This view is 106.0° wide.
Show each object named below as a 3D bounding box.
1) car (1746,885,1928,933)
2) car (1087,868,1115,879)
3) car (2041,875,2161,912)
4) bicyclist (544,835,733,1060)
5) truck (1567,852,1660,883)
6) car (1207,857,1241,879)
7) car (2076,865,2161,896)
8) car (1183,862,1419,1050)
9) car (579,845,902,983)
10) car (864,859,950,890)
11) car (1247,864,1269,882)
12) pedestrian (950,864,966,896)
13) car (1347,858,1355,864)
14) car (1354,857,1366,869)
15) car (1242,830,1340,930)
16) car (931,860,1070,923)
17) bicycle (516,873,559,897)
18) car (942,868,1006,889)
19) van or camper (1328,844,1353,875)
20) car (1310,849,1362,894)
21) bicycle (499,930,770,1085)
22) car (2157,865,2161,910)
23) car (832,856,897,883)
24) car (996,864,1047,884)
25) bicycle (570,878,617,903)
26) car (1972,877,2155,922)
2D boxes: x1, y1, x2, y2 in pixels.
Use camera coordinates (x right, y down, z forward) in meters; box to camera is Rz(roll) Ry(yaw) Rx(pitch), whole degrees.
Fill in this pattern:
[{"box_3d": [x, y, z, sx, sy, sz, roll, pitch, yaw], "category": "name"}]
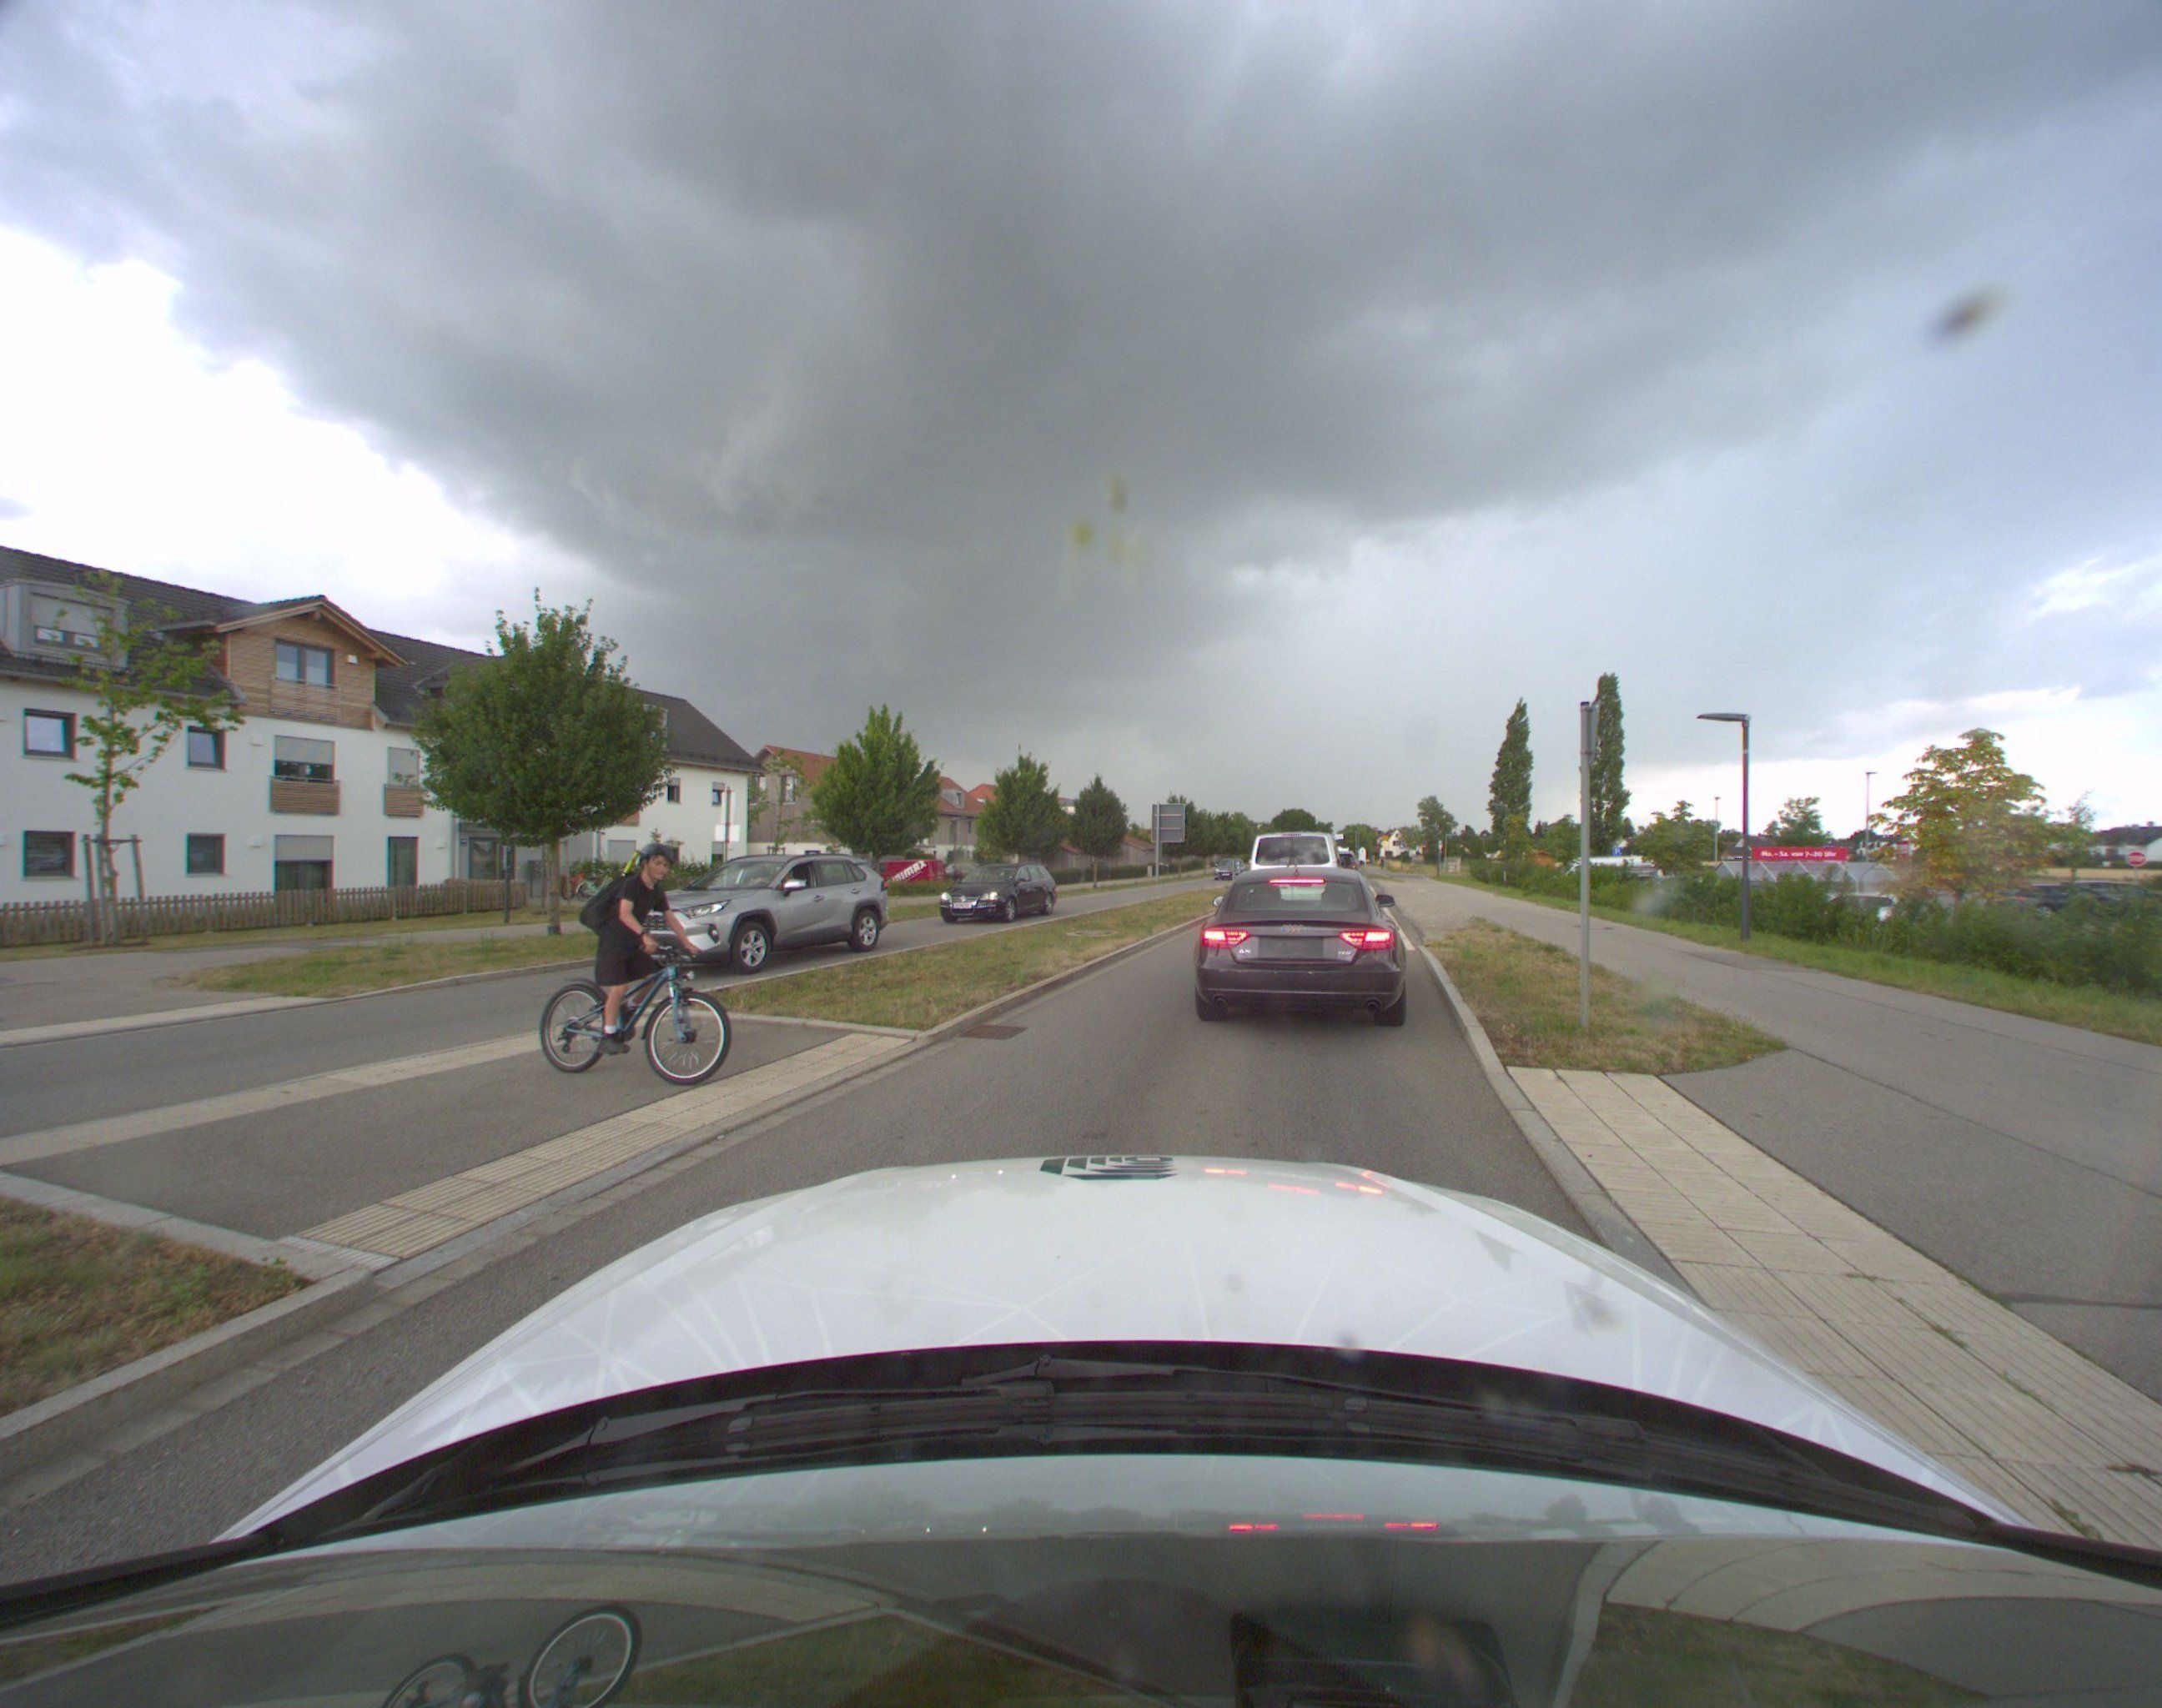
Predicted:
[{"box_3d": [26.097, 1.882, 28.315, 4.199, 1.440, 2.009, 0, 0, 18], "category": "car"}, {"box_3d": [1.950, 1.901, 78.681, 2.455, 1.028, 1.189, 0, 0, 12], "category": "car"}, {"box_3d": [48.364, 1.823, 38.012, 4.277, 1.578, 1.776, 0, 0, 20], "category": "car"}, {"box_3d": [-3.036, 0.609, 5.651, 0.861, 1.446, 0.726, -1, 0, 9], "category": "bicyclist"}, {"box_3d": [35.003, 0.880, 53.671, 4.762, 1.872, 2.007, 1, -1, 14], "category": "truck"}, {"box_3d": [9.841, 0.953, 55.802, 1.716, 1.410, 4.226, 0, 0, 19], "category": "car"}, {"box_3d": [66.484, 1.663, 51.580, 3.952, 1.838, 2.011, 0, 0, 22], "category": "car"}, {"box_3d": [2.275, 0.800, 8.377, 1.770, 1.391, 4.150, -1, 0, 16], "category": "car"}, {"box_3d": [-4.859, 0.760, 12.511, 1.977, 1.704, 4.656, -1, -1, 18], "category": "car"}, {"box_3d": [-10.082, 1.148, 47.327, 4.491, 1.680, 2.010, 0, 0, 21], "category": "car"}, {"box_3d": [17.408, 1.853, 80.015, 1.853, 1.574, 4.018, 0, 0, 17], "category": "car"}, {"box_3d": [-6.213, 1.312, 41.203, 0.577, 1.559, 0.663, 0, 0, 16], "category": "pedestrian"}, {"box_3d": [59.970, 1.616, 180.999, 1.600, 1.272, 3.478, 1, 0, 19], "category": "car"}, {"box_3d": [40.260, 1.266, 117.327, 1.600, 1.631, 3.633, 1, 0, 19], "category": "car"}, {"box_3d": [4.670, 0.501, 17.934, 1.853, 1.934, 4.017, 0, 0, 16], "category": "car"}, {"box_3d": [-1.935, 0.902, 21.114, 1.738, 1.416, 4.479, -1, -1, 21], "category": "car"}, {"box_3d": [-20.410, 1.171, 30.614, 0.364, 0.843, 1.344, 3, 1, 20], "category": "bicycle"}, {"box_3d": [-7.258, 1.630, 55.531, 3.885, 1.315, 1.850, 1, 0, 16], "category": "car"}, {"box_3d": [29.029, 0.629, 91.132, 2.604, 3.323, 6.852, 0, 0, 18], "category": "van or camper"}, {"box_3d": [9.743, 0.618, 31.079, 1.762, 1.618, 4.018, 0, 0, 18], "category": "car"}, {"box_3d": [-3.079, 1.028, 5.639, 1.697, 0.946, 0.499, -1, -1, 11], "category": "bicycle"}, {"box_3d": [50.347, 1.489, 34.995, 5.080, 2.013, 2.005, 0, 1, 7], "category": "car"}, {"box_3d": [-14.983, 1.064, 56.695, 1.976, 1.772, 4.490, 0, -1, 23], "category": "car"}, {"box_3d": [-4.728, 1.554, 64.905, 3.702, 1.482, 1.693, 1, 0, 15], "category": "car"}, {"box_3d": [-17.765, 1.314, 29.731, 0.364, 0.843, 1.554, 3, 1, 20], "category": "bicycle"}, {"box_3d": [40.835, 1.854, 33.988, 4.520, 1.664, 2.009, 0, 0, 18], "category": "car"}]
